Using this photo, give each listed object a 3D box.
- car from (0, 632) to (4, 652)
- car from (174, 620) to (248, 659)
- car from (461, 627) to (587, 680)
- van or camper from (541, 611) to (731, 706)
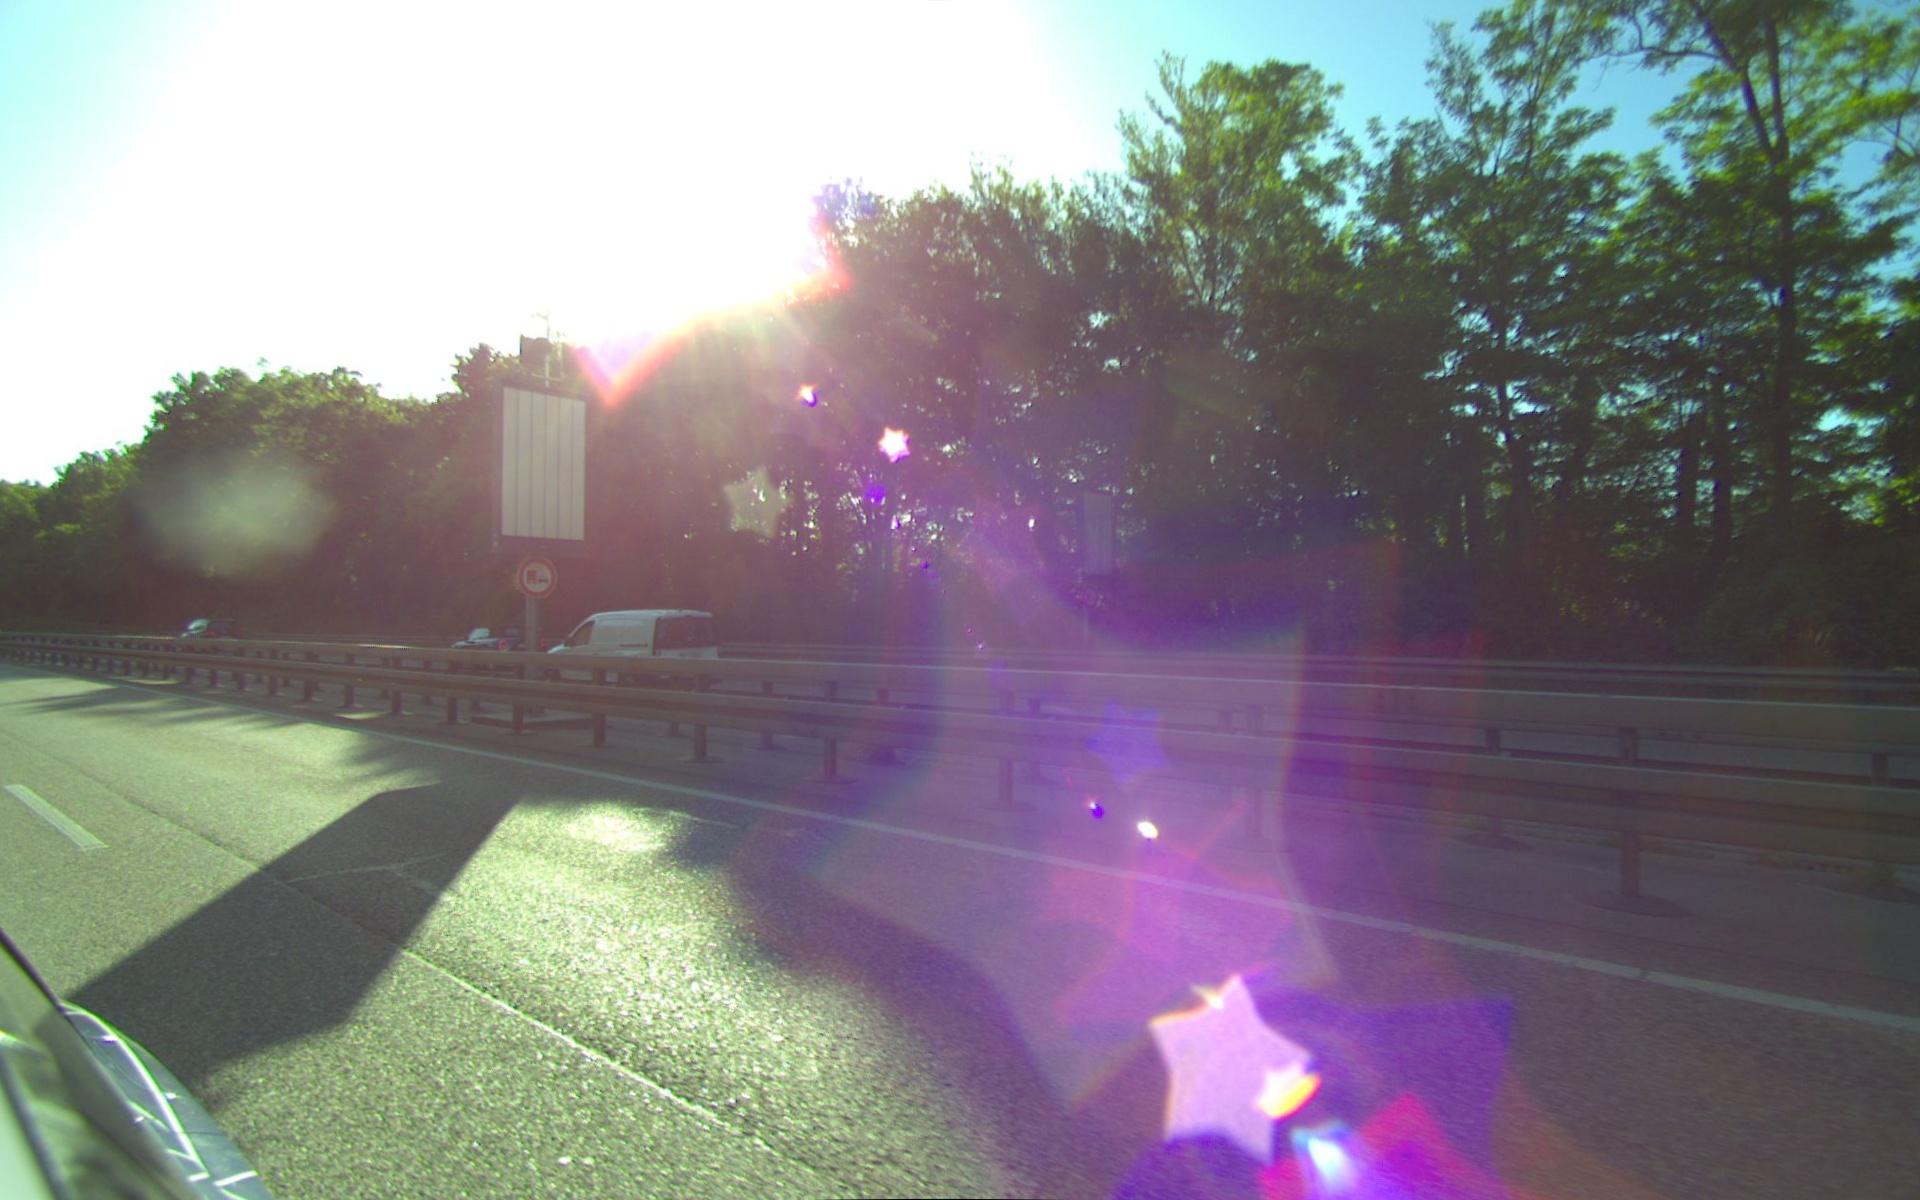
[{"bbox_3d":[-67.486,2.881,70.048,3.383,1.344,1.494,-1,-2,39],"label":"car"},{"bbox_3d":[-38.006,1.966,51.300,4.421,1.893,1.974,-1,-2,39],"label":"car"},{"bbox_3d":[-13.324,1.584,30.850,4.124,1.470,1.872,-1,-1,39],"label":"car"},{"bbox_3d":[-6.838,1.163,21.136,4.284,1.779,1.852,-2,-2,41],"label":"van or camper"}]
